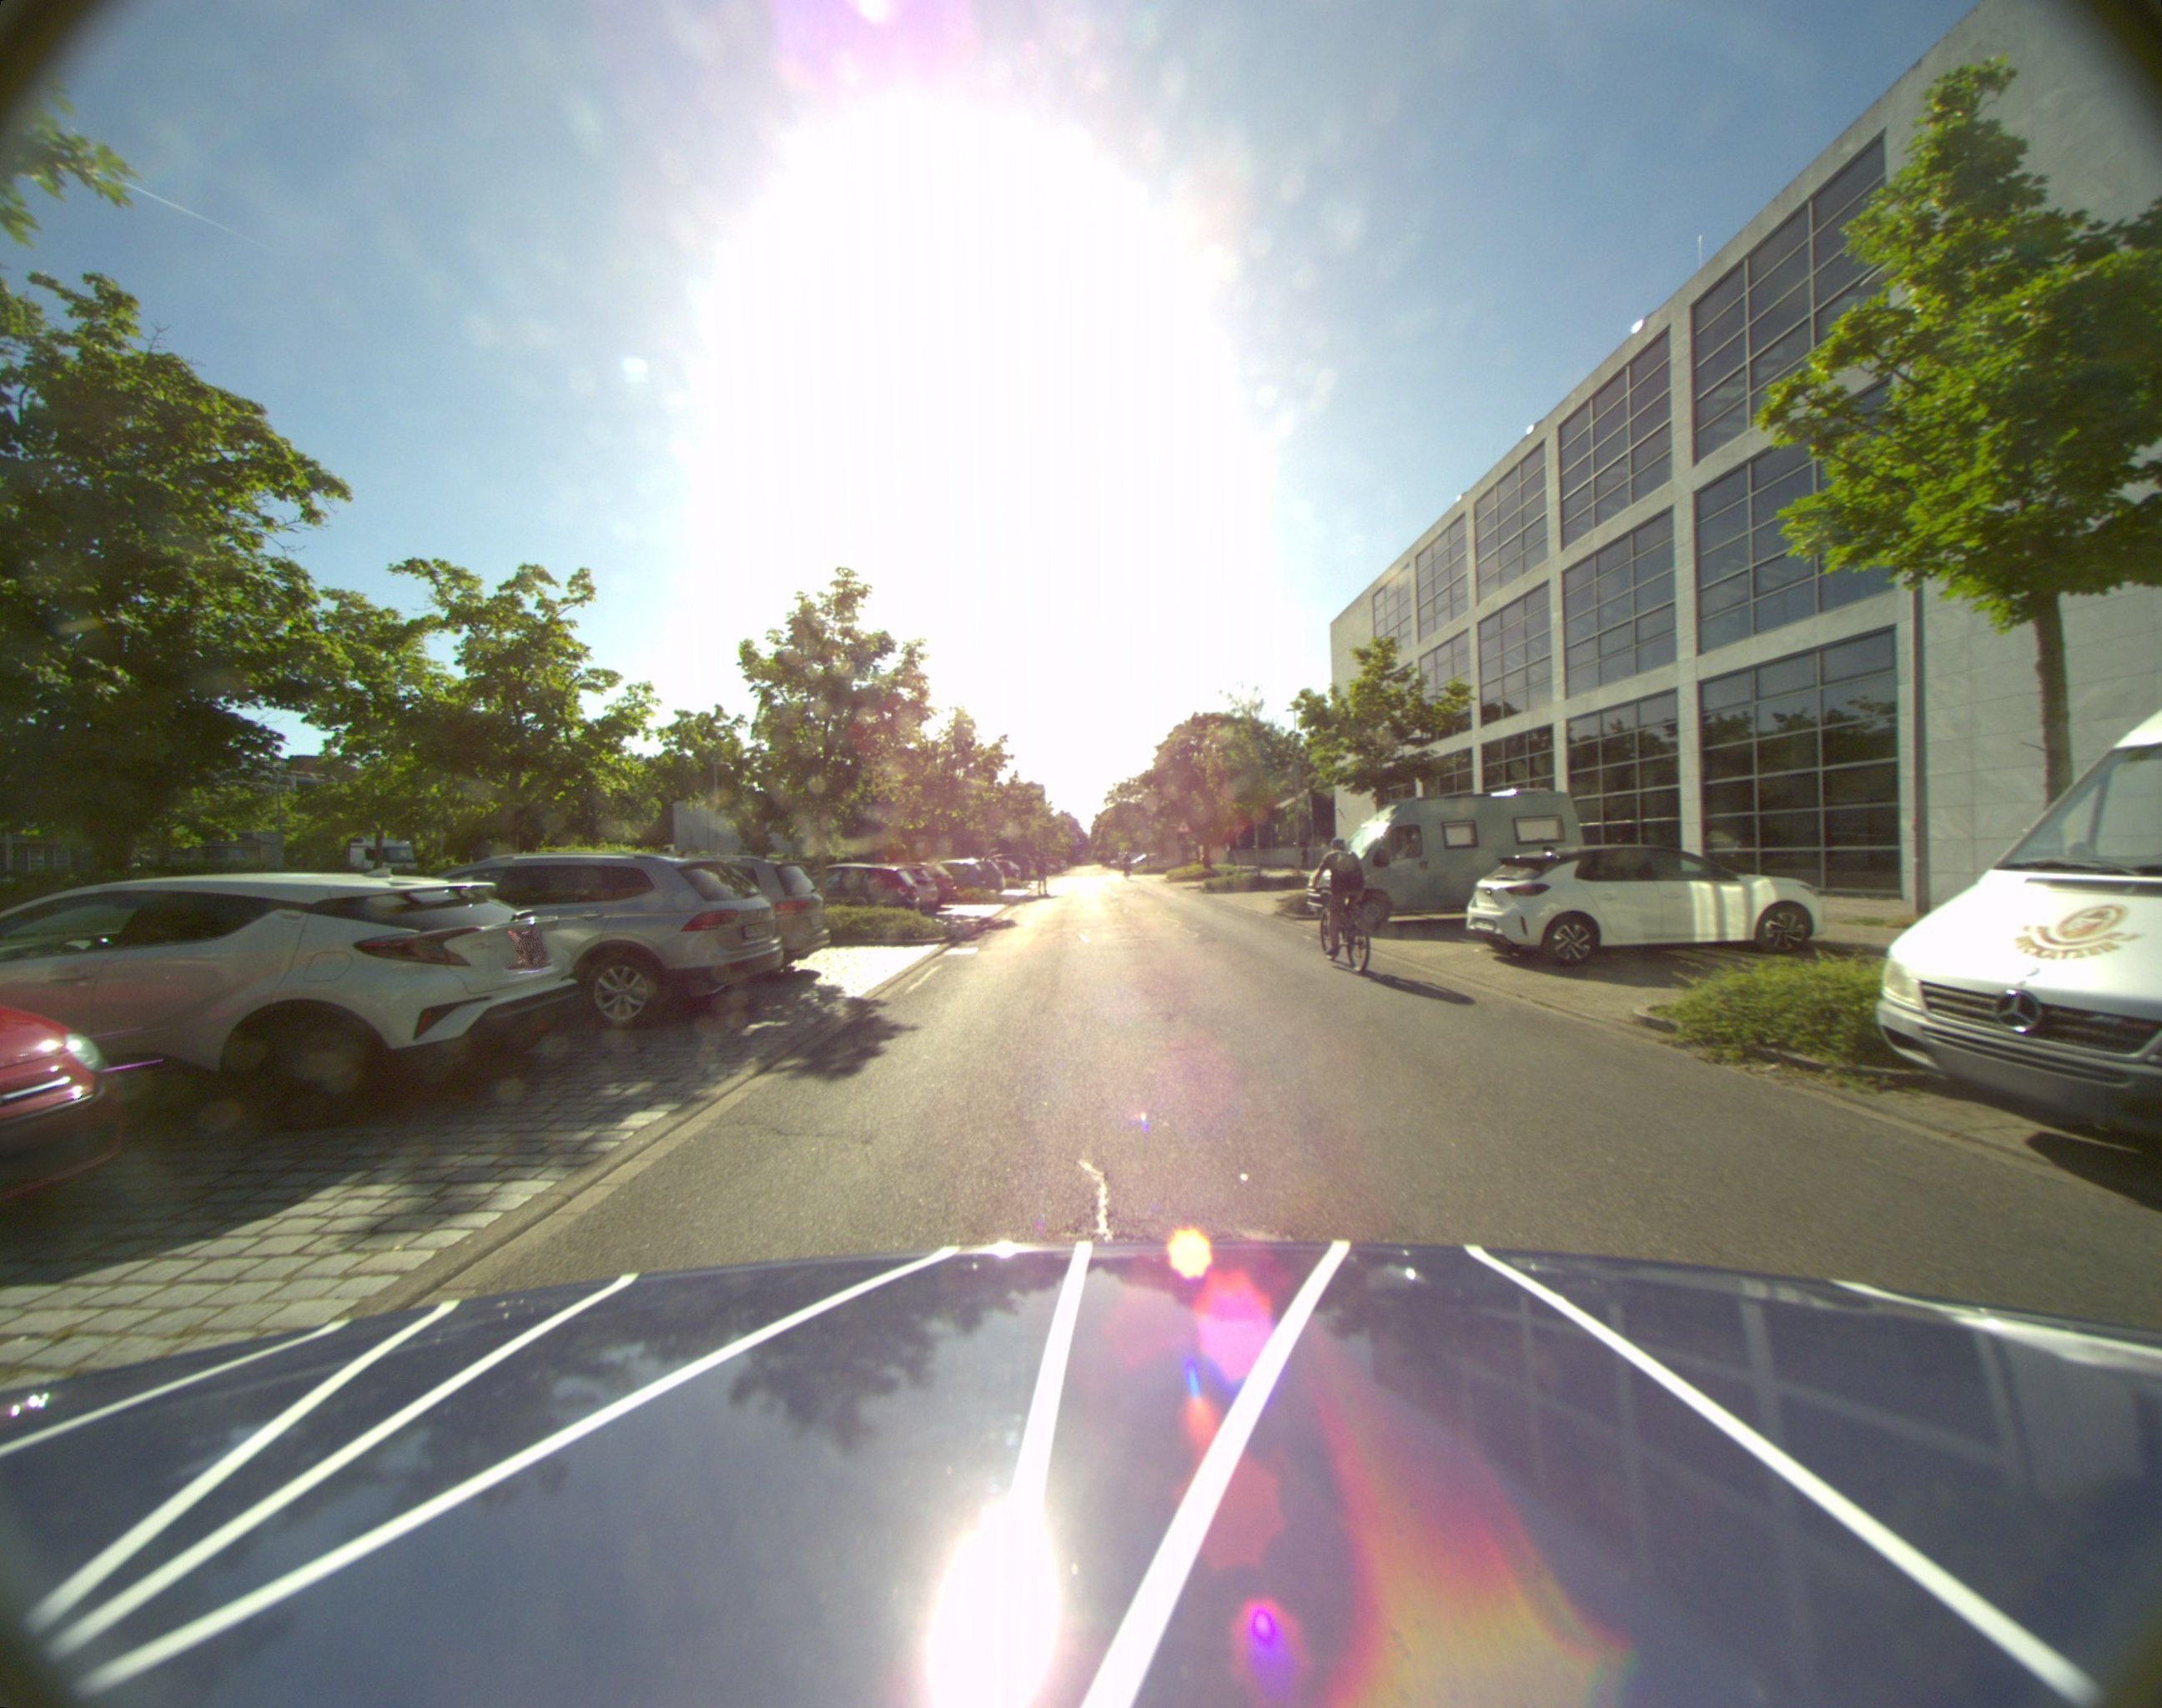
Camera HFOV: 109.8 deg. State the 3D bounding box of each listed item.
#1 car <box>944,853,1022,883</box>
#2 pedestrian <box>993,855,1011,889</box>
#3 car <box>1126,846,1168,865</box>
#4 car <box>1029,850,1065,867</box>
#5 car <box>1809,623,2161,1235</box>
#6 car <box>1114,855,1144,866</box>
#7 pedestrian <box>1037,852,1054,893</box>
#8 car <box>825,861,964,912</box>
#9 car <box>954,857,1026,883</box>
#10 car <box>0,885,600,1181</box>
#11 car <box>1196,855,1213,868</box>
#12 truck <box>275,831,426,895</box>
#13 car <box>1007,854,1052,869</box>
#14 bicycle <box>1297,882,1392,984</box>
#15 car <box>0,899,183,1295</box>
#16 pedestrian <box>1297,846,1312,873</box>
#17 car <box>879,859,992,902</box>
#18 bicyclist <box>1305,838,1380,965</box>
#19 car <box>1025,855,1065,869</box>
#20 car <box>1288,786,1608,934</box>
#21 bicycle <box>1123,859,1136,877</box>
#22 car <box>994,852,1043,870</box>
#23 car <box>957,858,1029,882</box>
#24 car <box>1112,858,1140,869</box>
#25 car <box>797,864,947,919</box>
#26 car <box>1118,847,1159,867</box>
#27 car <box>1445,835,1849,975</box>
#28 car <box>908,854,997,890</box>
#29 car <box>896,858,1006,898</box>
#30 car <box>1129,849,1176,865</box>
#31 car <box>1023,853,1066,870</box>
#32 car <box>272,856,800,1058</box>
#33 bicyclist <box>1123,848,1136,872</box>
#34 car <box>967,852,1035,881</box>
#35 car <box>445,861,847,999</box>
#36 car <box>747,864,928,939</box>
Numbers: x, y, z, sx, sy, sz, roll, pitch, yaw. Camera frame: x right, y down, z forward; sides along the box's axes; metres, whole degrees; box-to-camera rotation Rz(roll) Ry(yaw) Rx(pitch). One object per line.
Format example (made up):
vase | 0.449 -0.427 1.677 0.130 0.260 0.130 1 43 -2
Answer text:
car | -5.141 0.724 40.320 3.909 1.418 1.672 -1 1 -1
pedestrian | -3.738 0.870 35.994 0.766 1.570 0.674 -2 0 0
car | 7.631 0.204 87.836 4.633 1.979 2.000 -1 -1 -1
car | -4.051 0.534 91.076 4.257 2.020 1.973 0 1 -1
car | 6.999 0.150 3.292 5.564 2.396 1.988 -3 0 2
car | 7.435 1.069 118.194 4.562 1.590 2.000 -1 -1 -1
pedestrian | -1.575 0.815 33.806 0.721 1.761 1.168 0 1 -1
car | -5.895 1.013 24.338 3.904 1.489 1.842 -1 0 2
car | -5.173 0.922 43.569 3.909 1.428 1.808 0 0 -1
car | -5.544 1.033 5.060 3.507 1.521 1.737 -1 -1 -5
car | 16.269 0.965 100.021 1.833 1.605 4.145 0 0 4
truck | -46.277 0.592 48.248 6.917 3.784 2.812 -1 -1 2
car | -4.896 0.707 72.302 4.165 1.398 1.829 0 1 -1
bicycle | 3.403 0.972 10.009 0.699 1.104 2.080 0 1 5
car | -5.949 1.025 2.652 3.374 1.521 1.599 -1 1 -8
pedestrian | 14.364 0.341 48.823 0.837 1.675 0.808 -1 1 13
car | -5.383 0.980 28.491 3.909 1.459 1.621 -1 -1 -1
bicyclist | 3.397 0.584 9.949 0.685 1.572 1.061 0 1 5
car | -3.747 0.804 79.451 4.165 1.398 1.829 0 1 -1
car | 7.122 0.116 15.240 5.261 2.404 2.123 -4 1 1
bicycle | 2.924 0.842 45.909 0.759 0.996 1.872 0 0 2
car | -5.547 0.613 67.768 4.165 1.589 1.829 -1 1 -1
car | -5.322 0.984 46.324 4.165 1.398 1.829 0 1 -1
car | 7.660 1.608 130.336 4.562 1.819 2.000 -1 -1 -1
car | -5.905 1.054 21.775 3.741 1.408 1.842 -1 0 2
car | 7.446 0.418 98.348 5.132 2.364 2.000 -1 -1 -1
car | 7.197 0.614 10.014 3.839 1.463 1.848 -4 0 2
car | -6.037 0.837 36.080 3.909 1.568 1.680 -1 -1 -1
car | -5.221 0.947 30.924 4.197 1.511 1.736 -1 0 -1
car | 7.506 0.303 80.176 4.684 1.398 1.829 -4 0 2
car | -3.897 0.839 81.713 4.662 1.762 1.829 0 1 -1
car | -5.188 0.923 7.726 3.909 1.685 1.940 -1 -1 -1
bicyclist | 2.910 0.358 45.877 0.759 1.423 1.132 0 1 2
car | -5.161 0.794 49.526 4.165 1.836 1.880 0 1 0
car | -5.671 0.944 10.400 4.332 1.598 1.911 -1 1 -3
car | -5.324 1.014 16.948 3.462 1.480 1.746 0 1 -1
